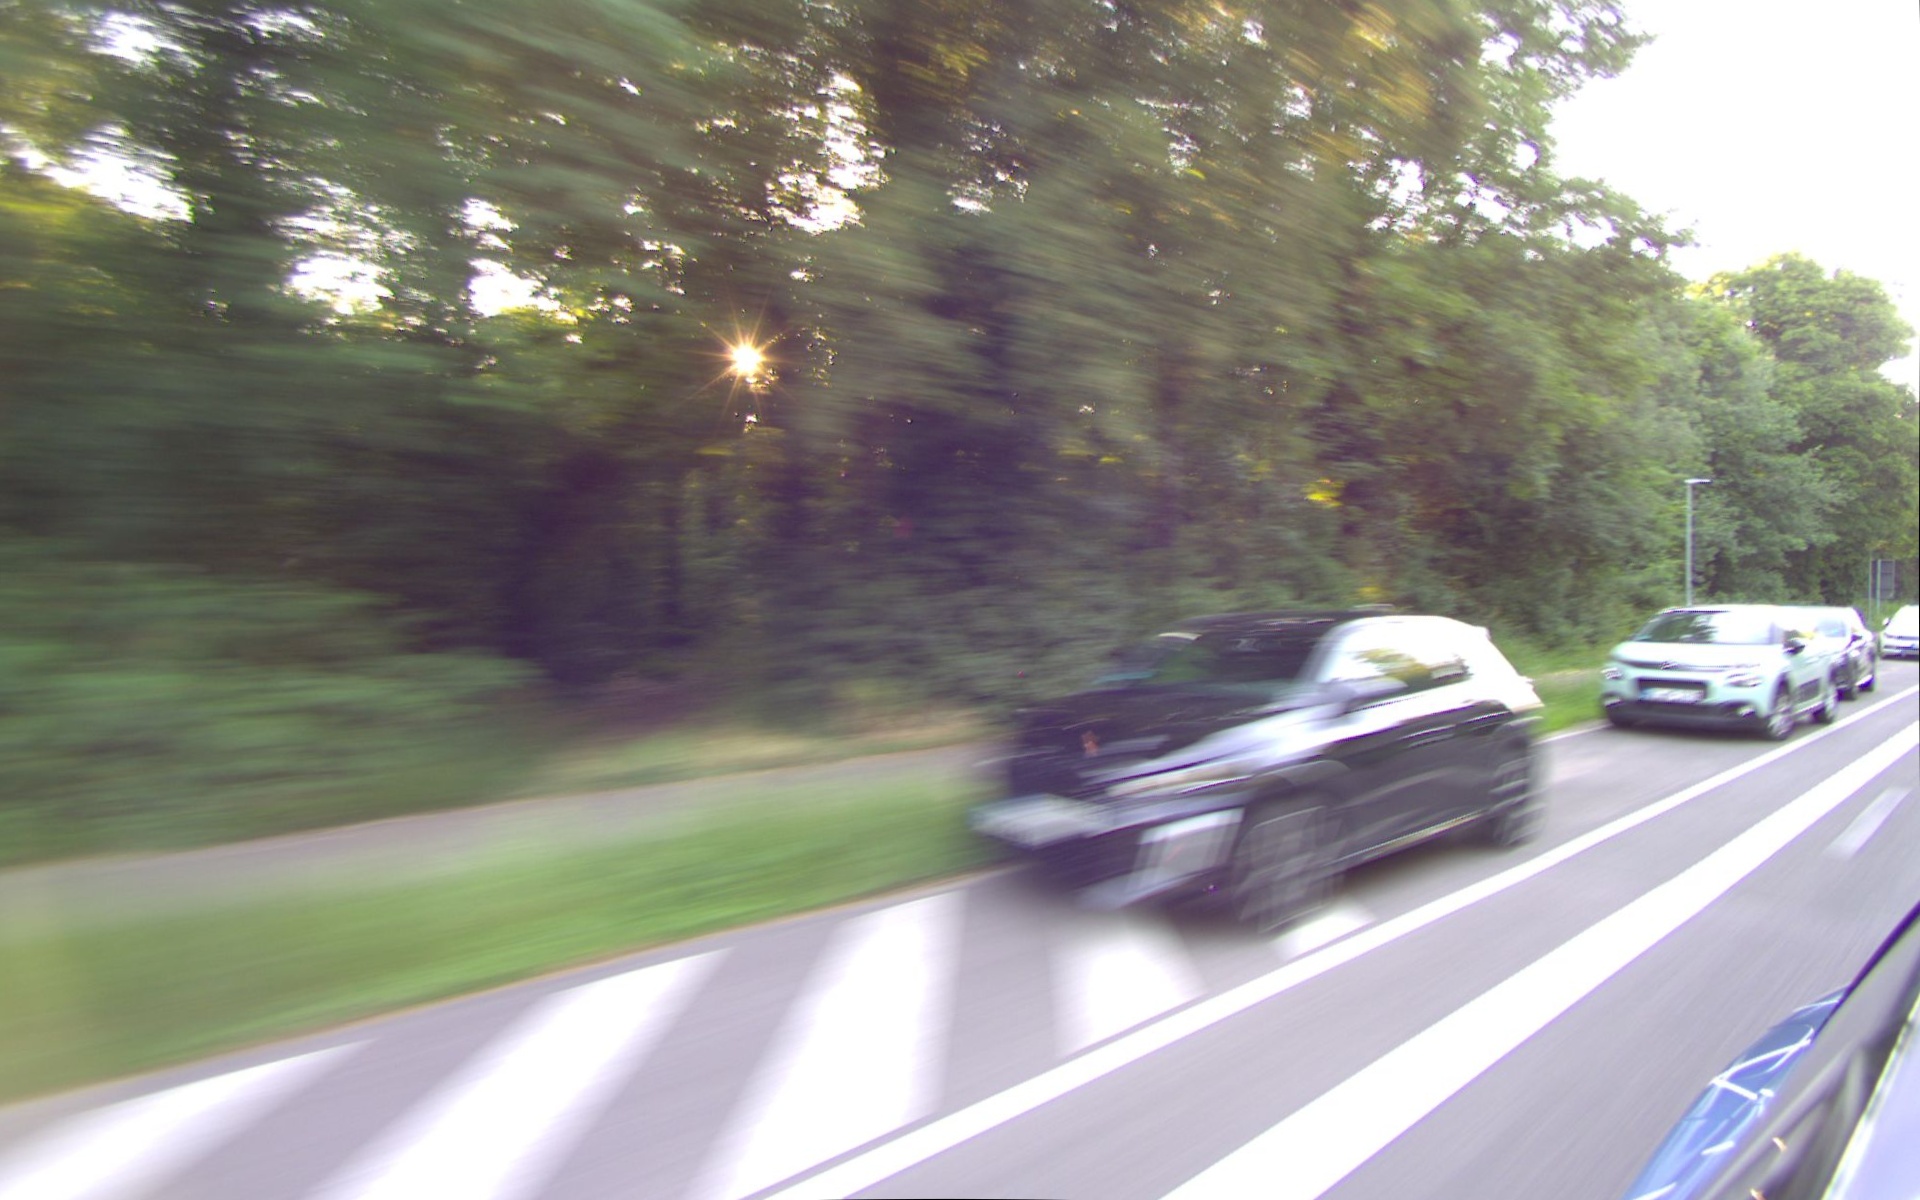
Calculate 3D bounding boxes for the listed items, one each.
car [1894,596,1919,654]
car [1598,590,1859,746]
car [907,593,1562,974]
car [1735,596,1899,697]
[{"bbox_3d":[27.026,0.673,27.688,4.679,1.512,1.845,1,0,-43],"label":"car"},{"bbox_3d":[9.420,0.685,12.290,4.040,1.565,1.692,0,1,-41],"label":"car"},{"bbox_3d":[1.812,0.702,5.876,4.050,1.463,1.714,0,0,-41],"label":"car"},{"bbox_3d":[14.390,0.684,16.927,3.893,1.464,1.581,0,1,-42],"label":"car"}]
